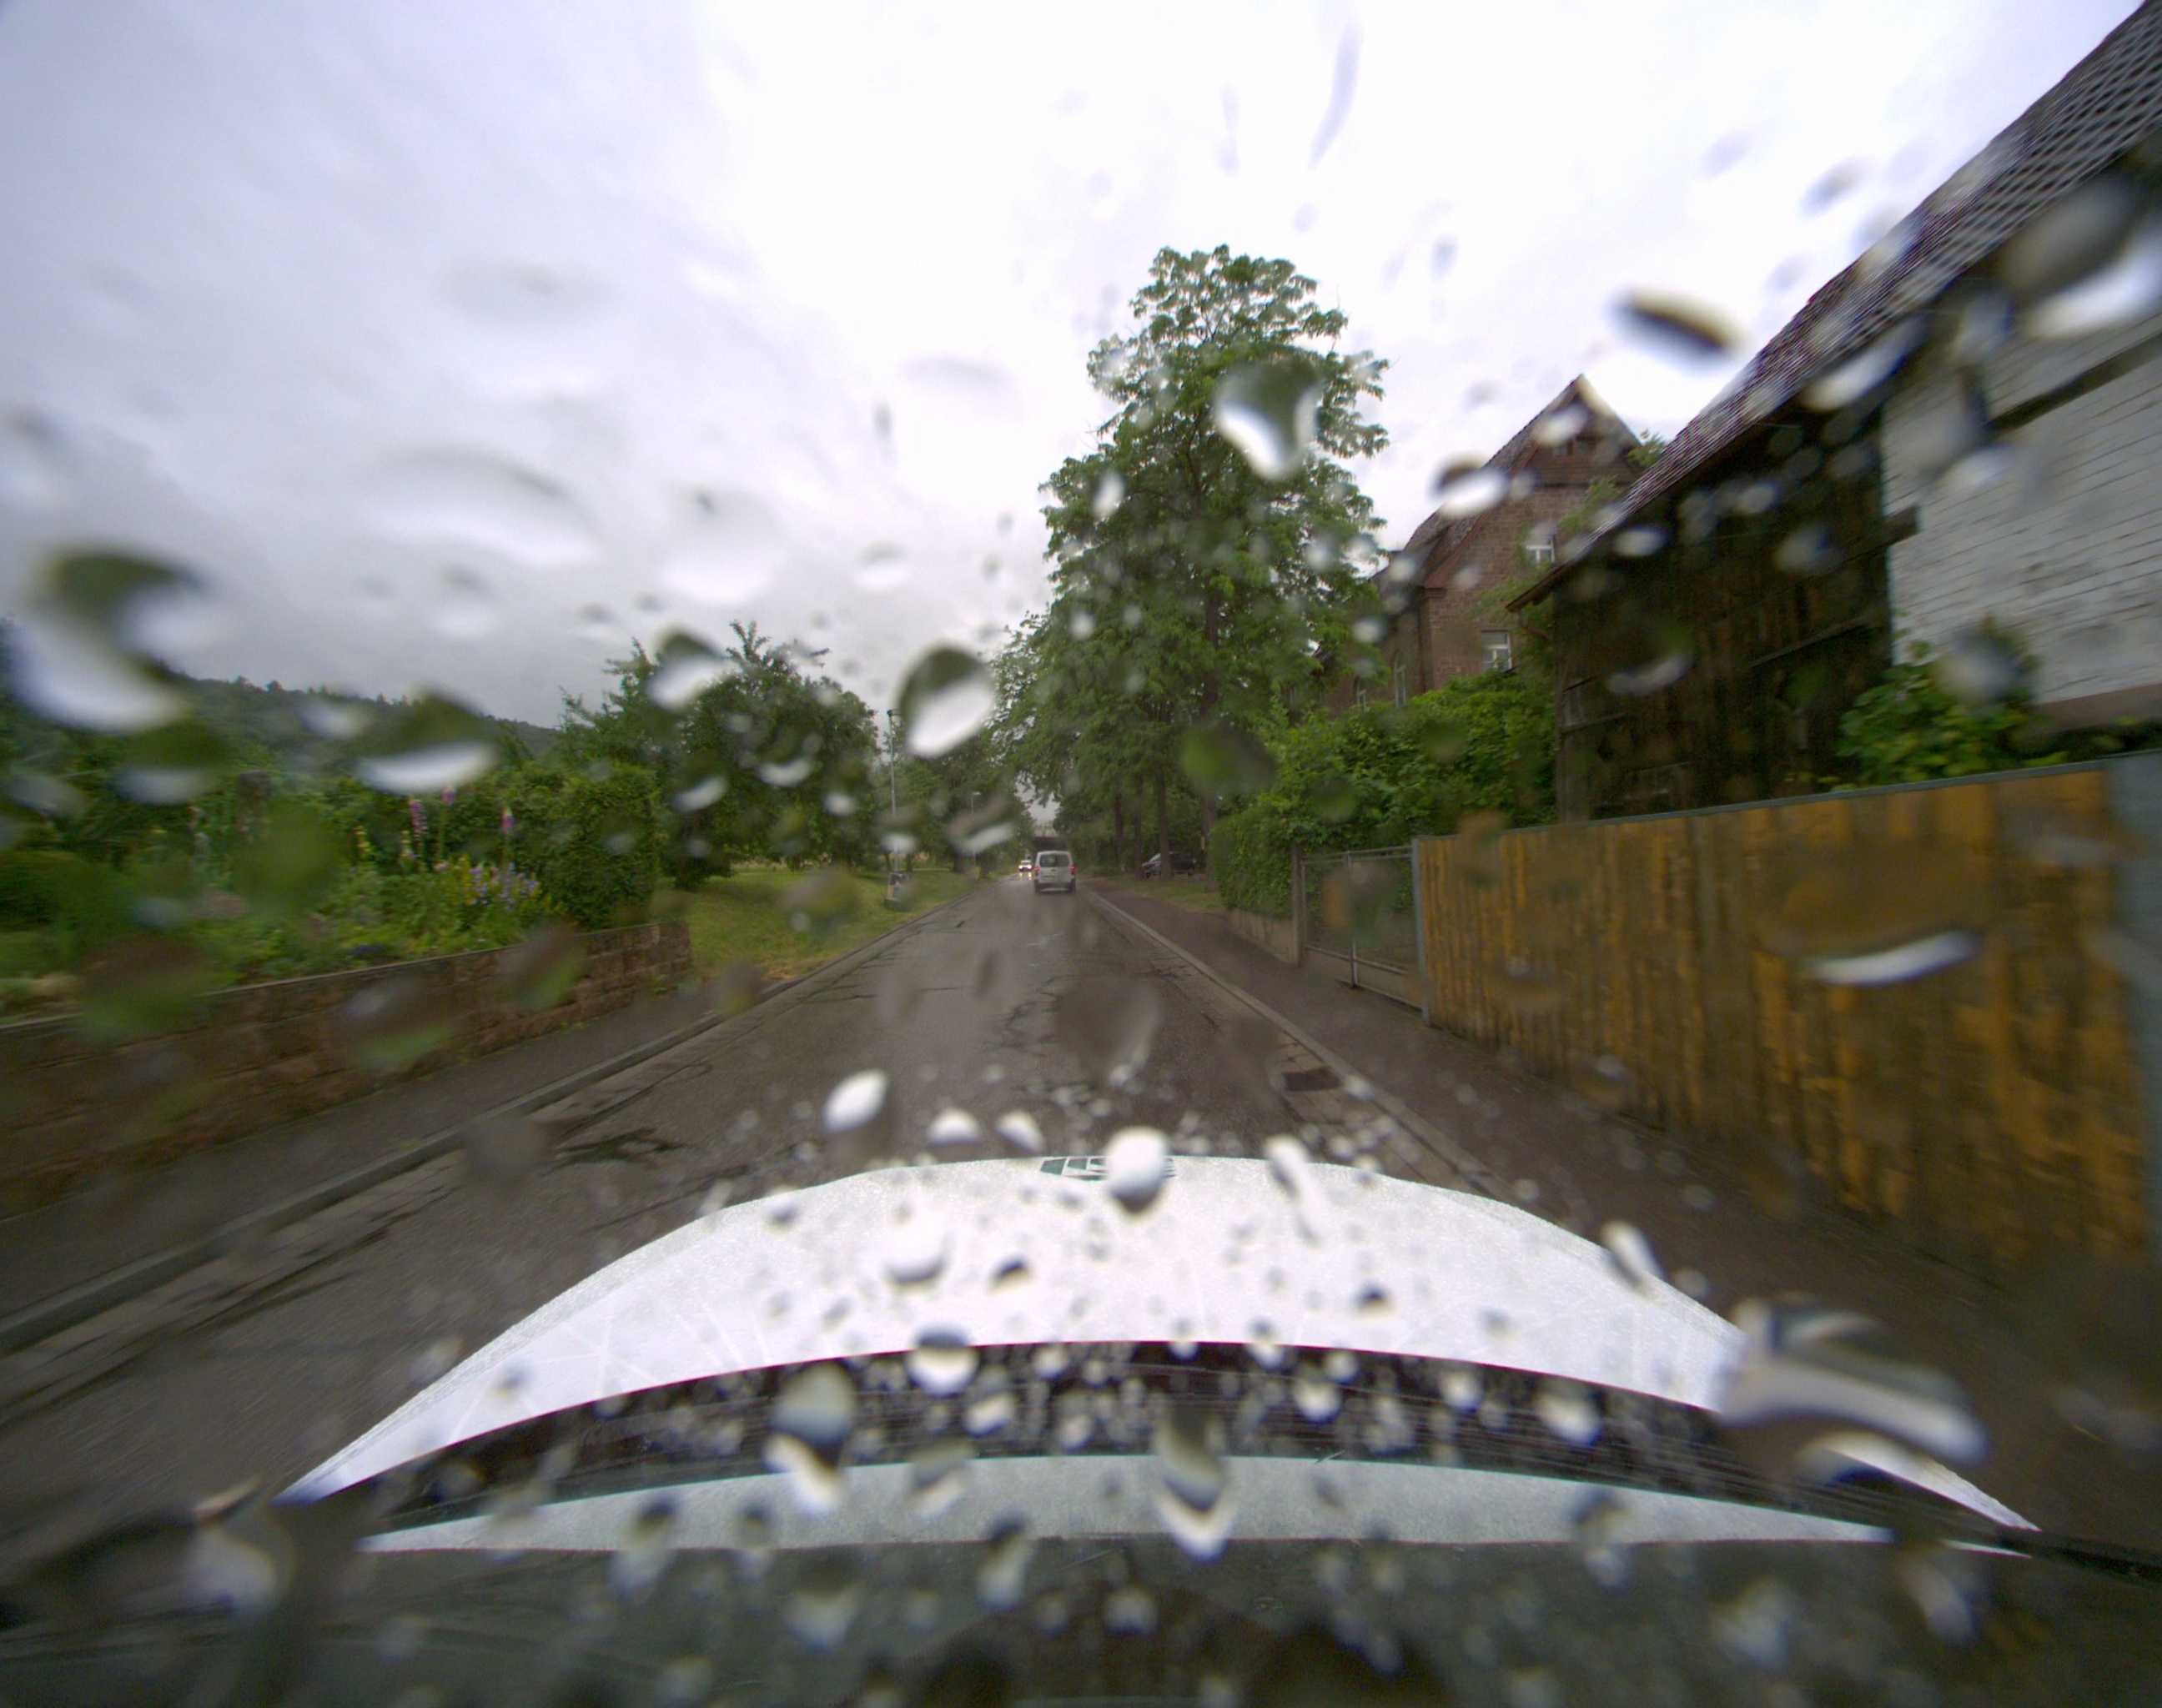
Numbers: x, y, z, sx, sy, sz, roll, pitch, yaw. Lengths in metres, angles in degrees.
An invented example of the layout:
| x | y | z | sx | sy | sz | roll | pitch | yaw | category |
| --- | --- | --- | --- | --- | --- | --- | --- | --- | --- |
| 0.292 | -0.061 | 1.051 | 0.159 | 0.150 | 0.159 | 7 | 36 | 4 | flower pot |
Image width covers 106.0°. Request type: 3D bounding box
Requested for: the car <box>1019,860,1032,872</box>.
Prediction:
| x | y | z | sx | sy | sz | roll | pitch | yaw | category |
| --- | --- | --- | --- | --- | --- | --- | --- | --- | --- |
| -8.549 | 1.887 | 125.336 | 1.820 | 1.832 | 4.301 | -2 | -1 | -4 | car |

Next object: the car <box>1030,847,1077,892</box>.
| x | y | z | sx | sy | sz | roll | pitch | yaw | category |
| --- | --- | --- | --- | --- | --- | --- | --- | --- | --- |
| -1.228 | 0.664 | 36.308 | 1.892 | 1.807 | 3.997 | -3 | 0 | -2 | car |

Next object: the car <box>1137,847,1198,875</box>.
| x | y | z | sx | sy | sz | roll | pitch | yaw | category |
| --- | --- | --- | --- | --- | --- | --- | --- | --- | --- |
| 5.336 | 0.433 | 50.142 | 3.631 | 1.551 | 1.603 | -2 | -2 | -39 | car |

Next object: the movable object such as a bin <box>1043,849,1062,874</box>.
| x | y | z | sx | sy | sz | roll | pitch | yaw | category |
| --- | --- | --- | --- | --- | --- | --- | --- | --- | --- |
| -2.976 | 0.821 | 86.612 | 1.755 | 2.548 | 4.238 | -1 | -1 | 0 | movable object such as a bin |
